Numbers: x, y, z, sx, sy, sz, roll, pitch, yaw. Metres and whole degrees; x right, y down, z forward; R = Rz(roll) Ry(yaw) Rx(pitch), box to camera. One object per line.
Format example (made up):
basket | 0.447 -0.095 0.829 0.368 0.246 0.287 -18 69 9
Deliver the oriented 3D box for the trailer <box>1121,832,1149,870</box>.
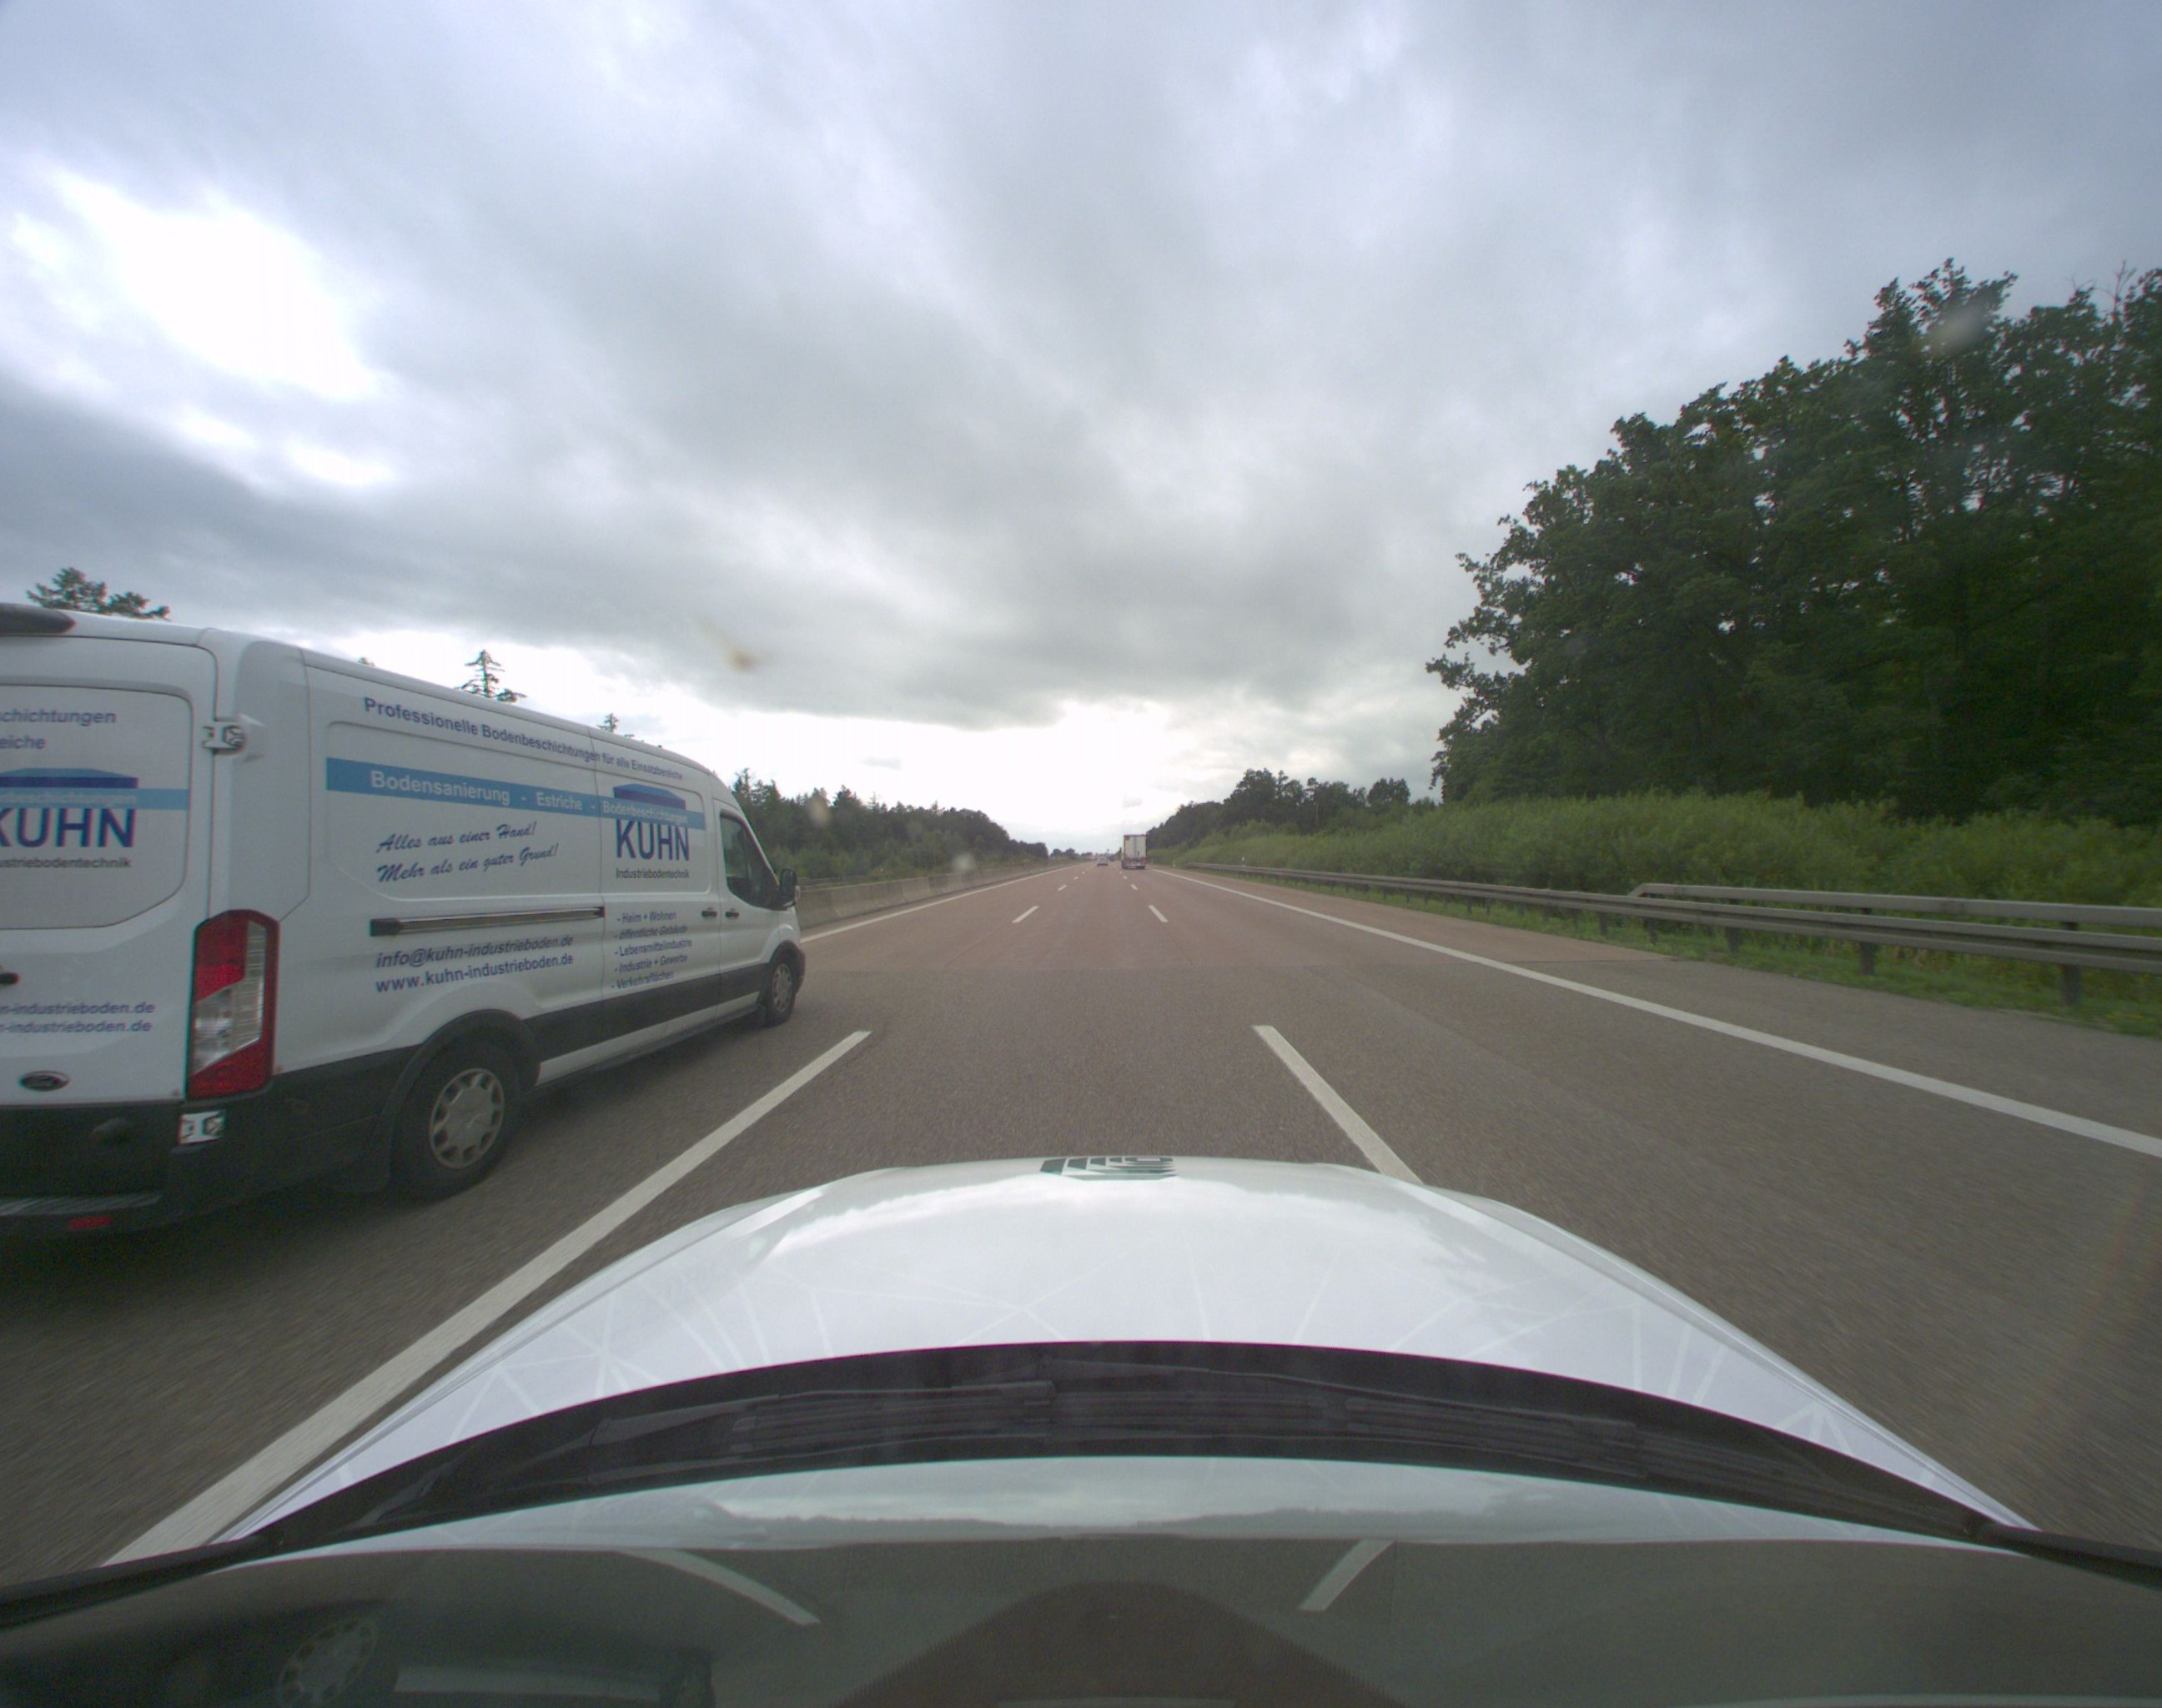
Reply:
trailer | 6.434 -0.472 98.700 2.910 4.293 13.621 -1 1 2

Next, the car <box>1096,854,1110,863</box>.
car | 3.731 0.754 137.145 2.154 1.451 4.723 0 0 3

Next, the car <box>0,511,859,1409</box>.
car | -3.770 0.310 5.856 2.129 2.507 7.134 -1 0 2
